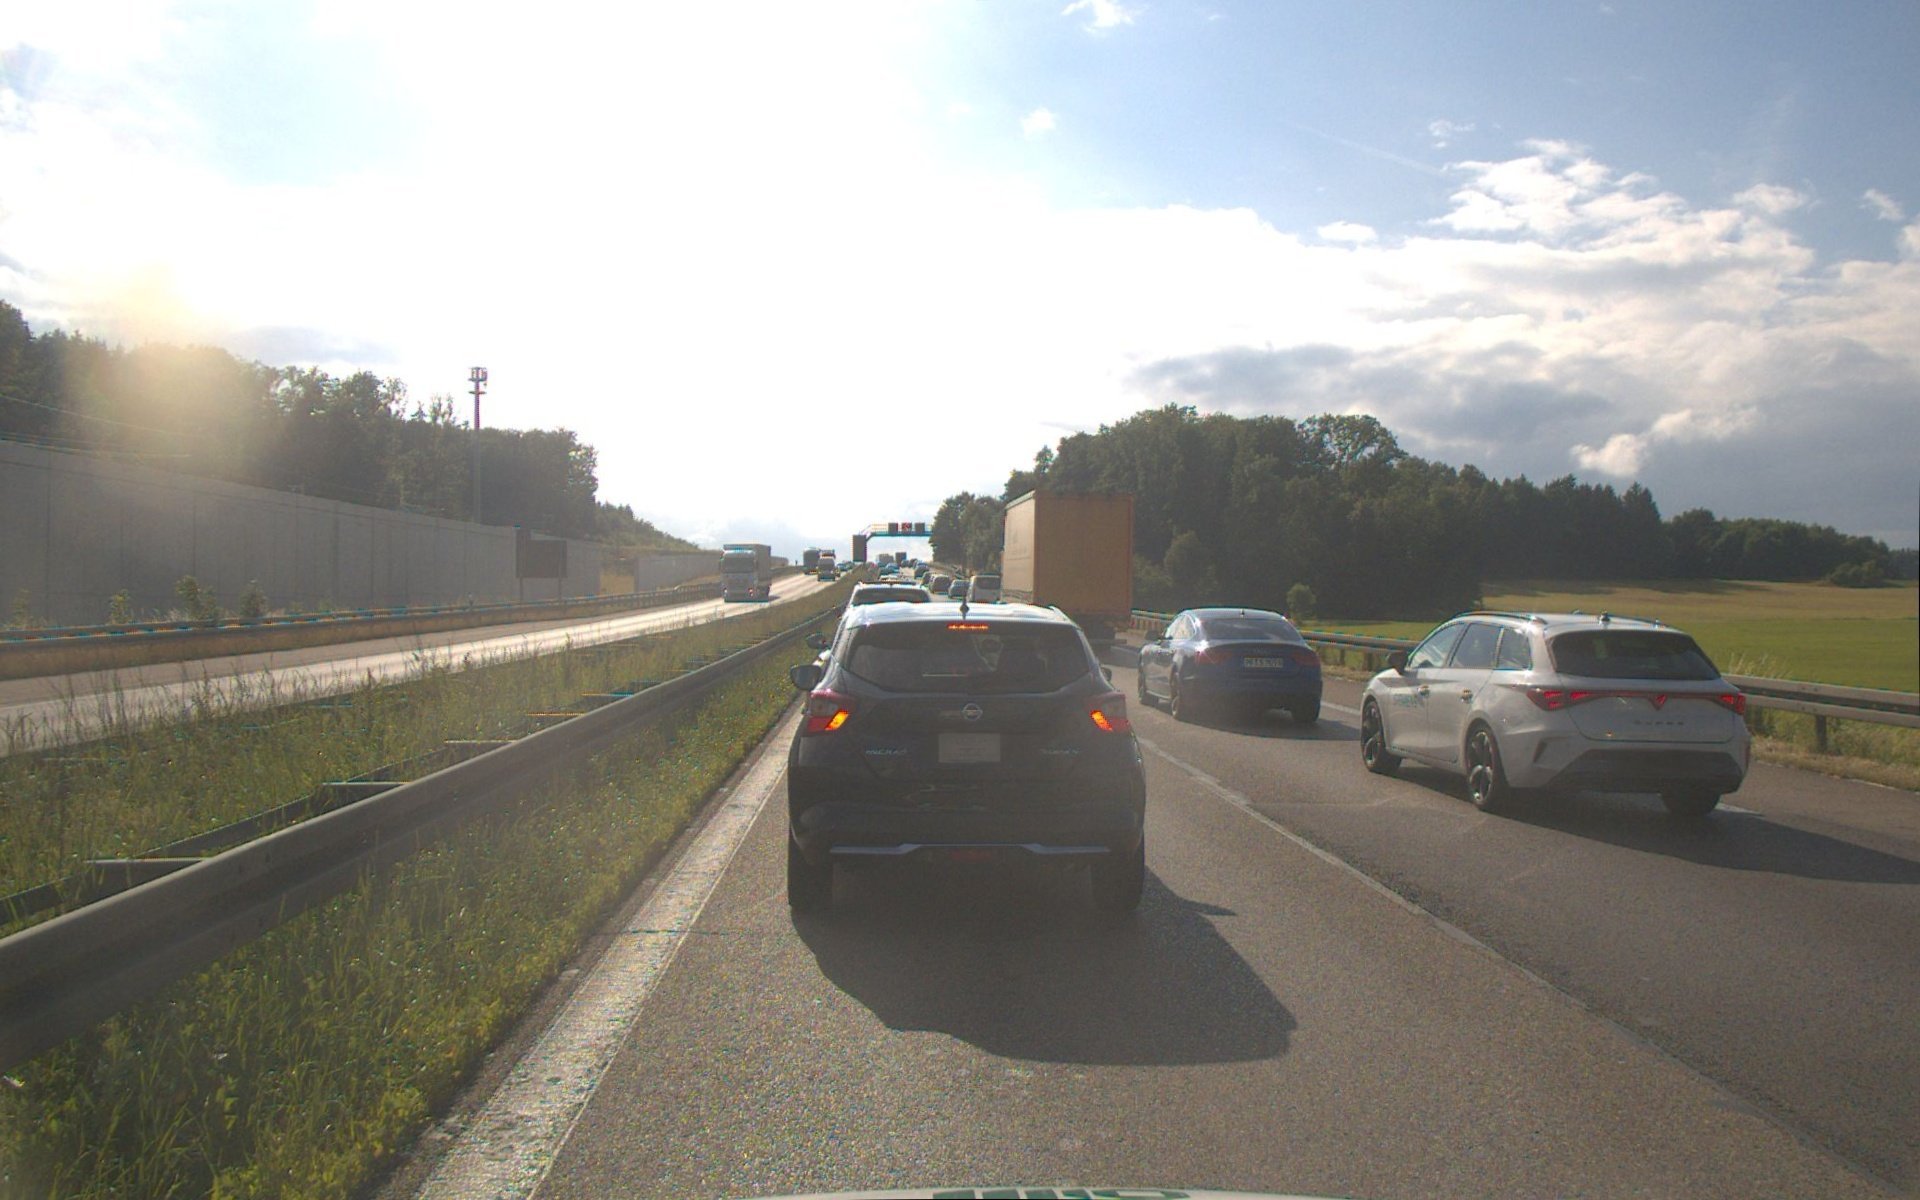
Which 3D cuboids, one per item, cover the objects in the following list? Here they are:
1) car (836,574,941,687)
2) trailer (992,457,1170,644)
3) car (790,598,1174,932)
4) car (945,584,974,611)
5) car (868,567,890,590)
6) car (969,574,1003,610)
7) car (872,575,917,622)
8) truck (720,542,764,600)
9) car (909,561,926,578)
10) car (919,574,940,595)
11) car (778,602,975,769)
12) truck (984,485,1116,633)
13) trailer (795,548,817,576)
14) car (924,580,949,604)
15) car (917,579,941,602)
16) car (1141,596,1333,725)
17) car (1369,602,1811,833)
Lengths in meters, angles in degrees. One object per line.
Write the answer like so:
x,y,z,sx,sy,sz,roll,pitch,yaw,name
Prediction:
-1.176,0.490,27.924,1.640,1.756,3.595,1,0,-2,car
3.115,-1.195,47.142,3.478,4.535,12.714,1,0,-3,trailer
0.073,0.737,8.984,1.675,1.451,3.377,1,0,-1,car
-0.041,-0.175,126.992,1.954,2.049,3.997,1,0,-3,car
-7.641,-1.977,155.896,1.954,2.049,3.997,1,0,-3,car
1.335,-0.414,85.549,1.633,1.785,3.326,1,0,-1,car
-2.996,-0.053,74.828,1.954,2.049,3.997,1,0,-3,car
-16.122,-2.082,122.656,2.585,4.169,6.998,1,0,-3,truck
-5.228,-3.719,202.621,1.954,2.049,3.997,1,0,-3,car
-3.107,-1.570,168.948,1.954,2.049,3.997,1,0,-3,car
-0.744,0.731,15.756,1.640,1.391,3.595,1,0,-2,car
2.790,-1.231,53.560,3.511,4.456,6.684,1,0,-3,truck
-23.577,-5.766,253.200,2.489,3.837,12.536,-1,0,-2,trailer
-2.063,-0.709,144.670,1.954,2.049,3.997,1,0,-3,car
-2.864,-0.883,152.314,1.954,2.049,3.997,1,0,-3,car
3.498,0.725,21.615,1.712,1.501,4.145,1,0,-1,car
4.571,0.768,12.700,1.588,1.471,4.143,1,0,-4,car
